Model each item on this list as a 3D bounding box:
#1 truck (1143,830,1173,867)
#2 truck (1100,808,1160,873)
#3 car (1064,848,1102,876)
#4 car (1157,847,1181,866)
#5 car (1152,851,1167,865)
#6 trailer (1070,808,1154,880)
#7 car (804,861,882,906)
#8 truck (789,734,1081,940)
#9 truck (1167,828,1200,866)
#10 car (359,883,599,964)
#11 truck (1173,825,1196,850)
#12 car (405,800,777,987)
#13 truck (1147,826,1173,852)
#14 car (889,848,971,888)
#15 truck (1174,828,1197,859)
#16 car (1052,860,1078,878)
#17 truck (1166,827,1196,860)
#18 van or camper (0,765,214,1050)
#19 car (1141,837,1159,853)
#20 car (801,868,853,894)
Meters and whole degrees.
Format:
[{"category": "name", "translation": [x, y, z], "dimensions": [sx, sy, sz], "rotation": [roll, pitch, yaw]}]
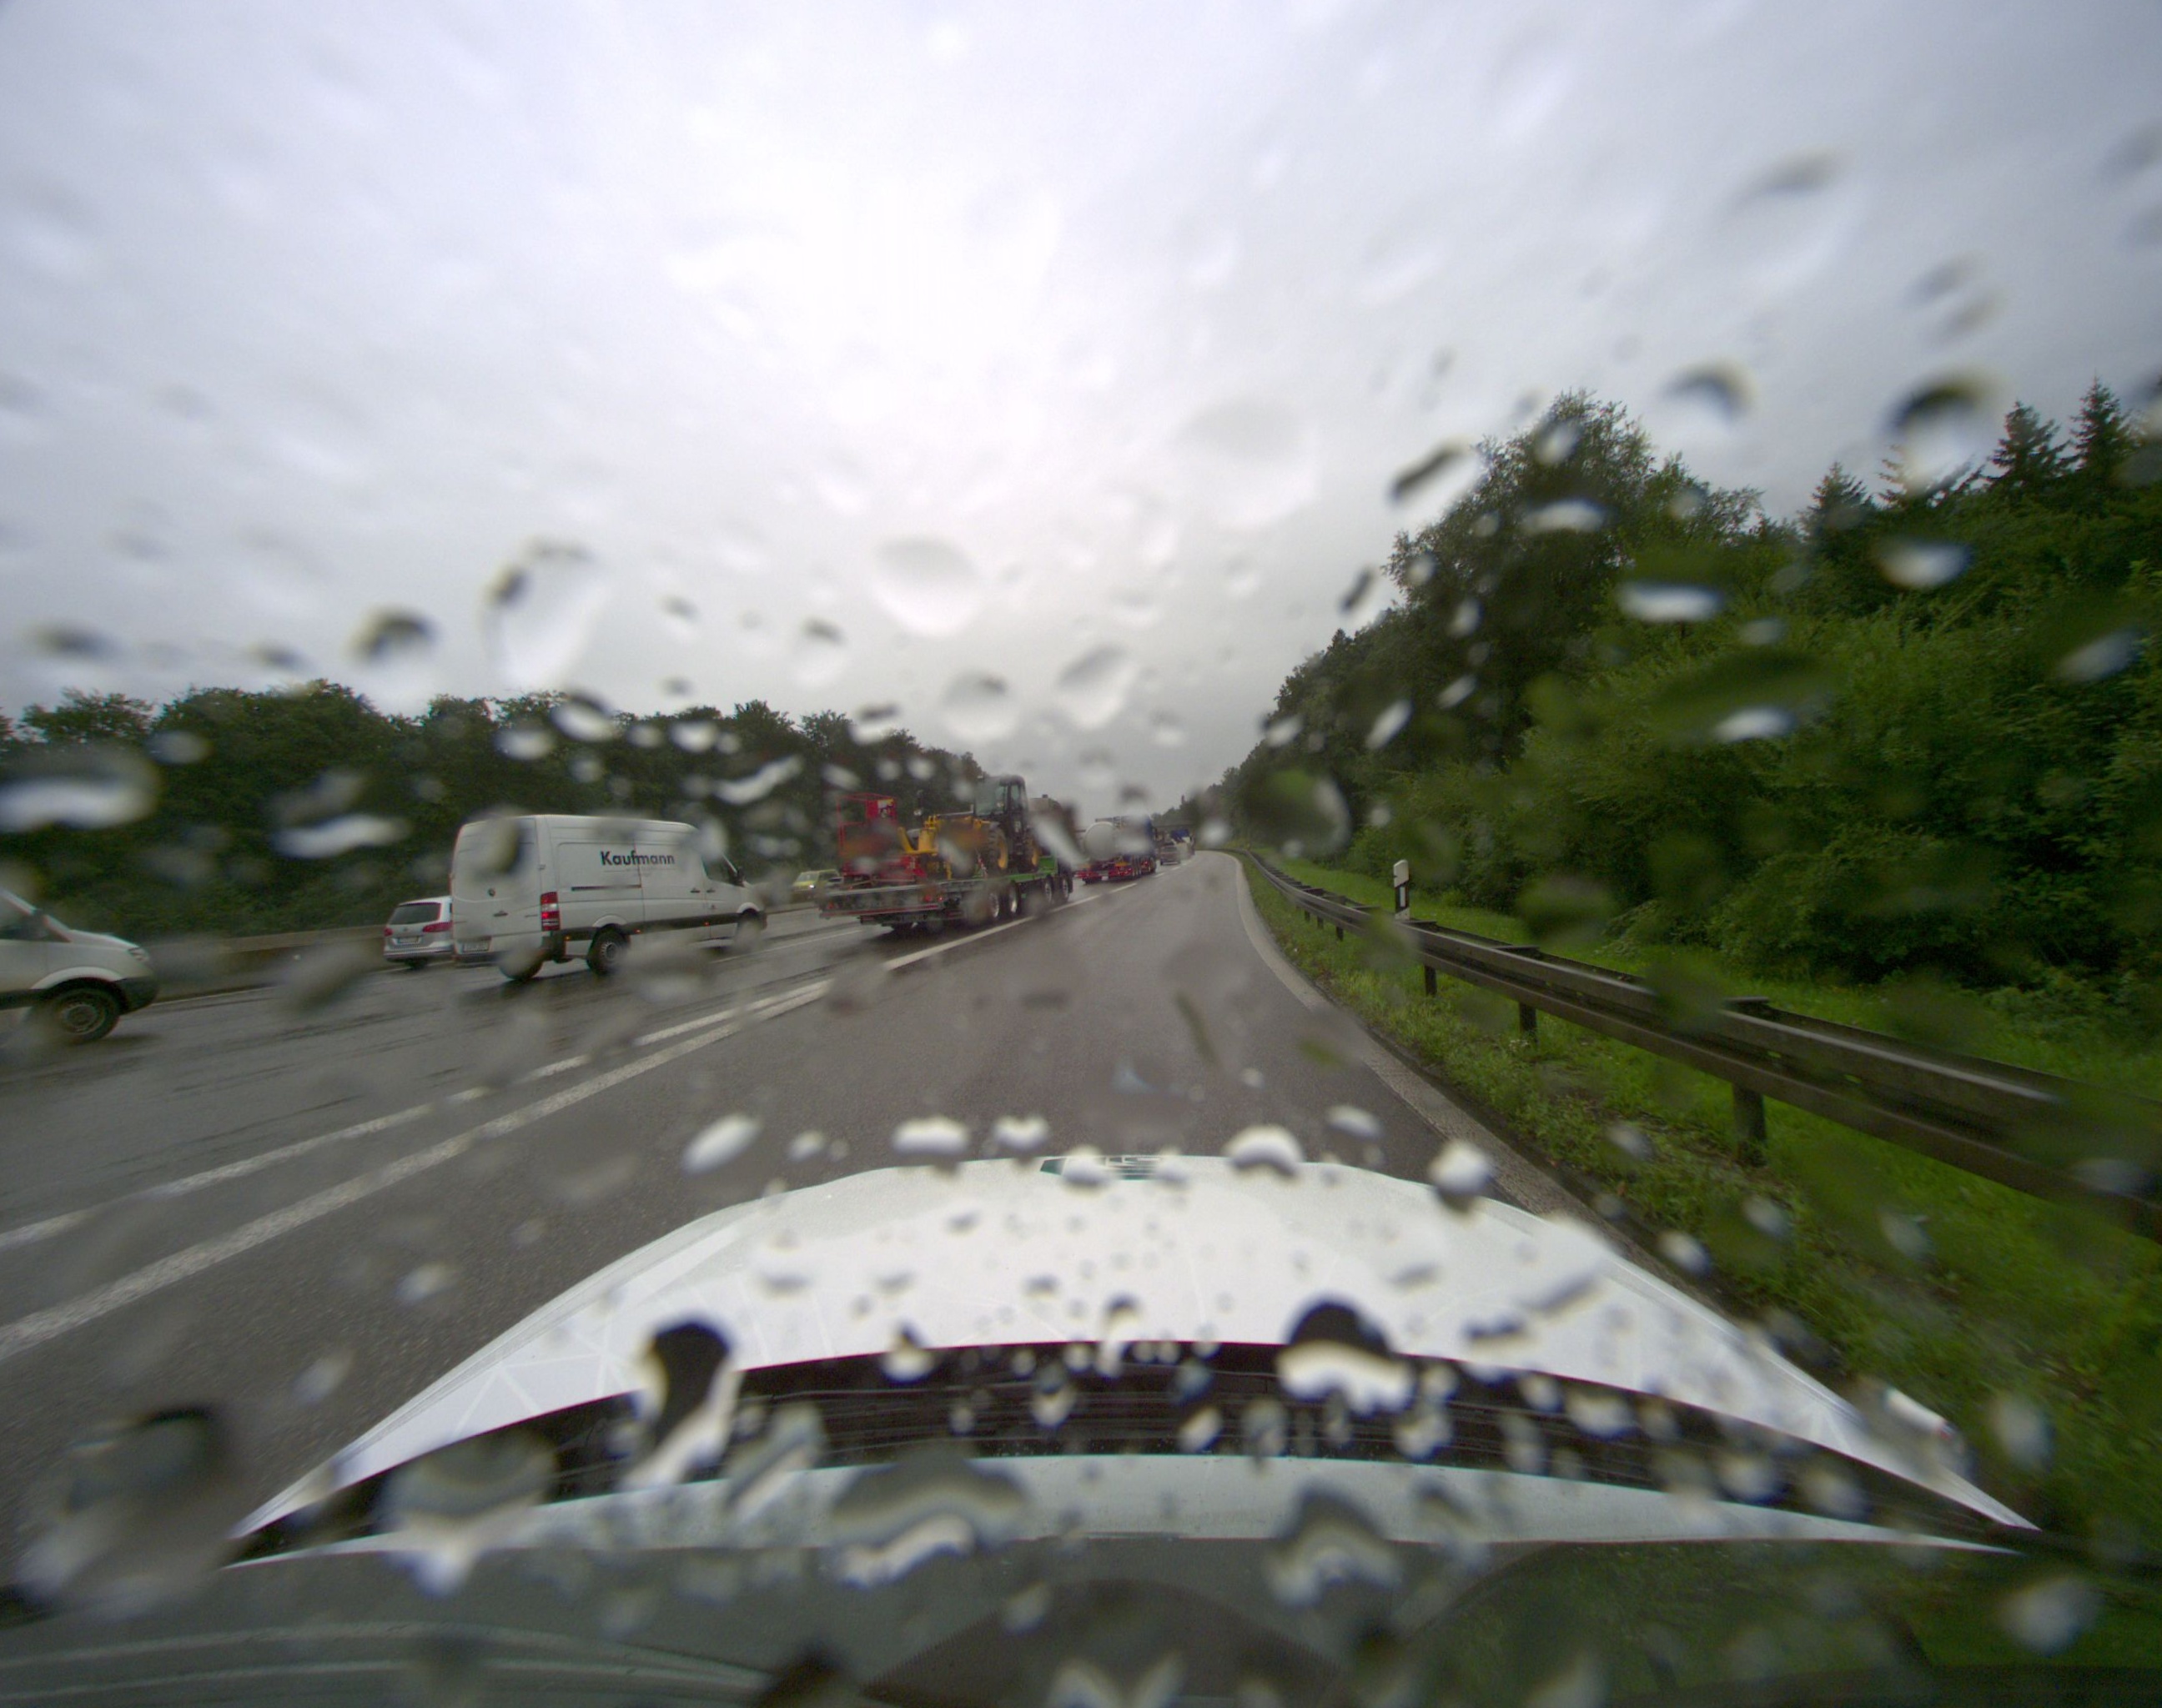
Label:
[{"category": "truck", "translation": [11.989, -0.693, 126.586], "dimensions": [3.731, 5.499, 10.200], "rotation": [-1, -1, 10]}, {"category": "truck", "translation": [3.160, -0.827, 50.831], "dimensions": [2.859, 3.693, 5.072], "rotation": [-4, 0, 11]}, {"category": "car", "translation": [0.188, 0.548, 56.091], "dimensions": [1.808, 1.767, 4.012], "rotation": [-3, 0, 11]}, {"category": "car", "translation": [7.974, 0.237, 73.612], "dimensions": [1.981, 1.636, 4.010], "rotation": [-1, -1, 9]}, {"category": "car", "translation": [10.489, 0.555, 108.873], "dimensions": [1.787, 1.904, 4.010], "rotation": [-1, -1, 9]}, {"category": "trailer", "translation": [1.908, -0.532, 44.069], "dimensions": [2.855, 3.288, 10.108], "rotation": [-4, 0, 11]}, {"category": "car", "translation": [-11.205, 1.373, 38.639], "dimensions": [1.785, 2.014, 4.014], "rotation": [-1, -1, 13]}, {"category": "truck", "translation": [-2.756, -0.329, 20.832], "dimensions": [2.812, 3.588, 11.837], "rotation": [-5, -1, 12]}, {"category": "truck", "translation": [12.626, -0.883, 99.537], "dimensions": [3.580, 4.104, 11.587], "rotation": [-4, 0, 8]}, {"category": "car", "translation": [-14.712, 1.627, 20.307], "dimensions": [1.853, 1.522, 4.646], "rotation": [-4, -1, 13]}, {"category": "truck", "translation": [17.932, -2.782, 141.111], "dimensions": [3.734, 3.971, 11.082], "rotation": [0, -1, 8]}, {"category": "car", "translation": [-8.347, 0.590, 14.853], "dimensions": [2.200, 2.629, 5.865], "rotation": [-4, -1, 13]}, {"category": "truck", "translation": [13.940, -2.538, 143.025], "dimensions": [3.554, 4.095, 10.909], "rotation": [-4, -2, 10]}, {"category": "car", "translation": [-7.077, 0.619, 38.737], "dimensions": [1.980, 1.594, 4.824], "rotation": [-4, 0, 12]}, {"category": "truck", "translation": [20.904, -2.047, 162.512], "dimensions": [4.312, 5.764, 9.751], "rotation": [0, -1, 8]}, {"category": "car", "translation": [-1.679, 1.612, 87.222], "dimensions": [1.981, 1.772, 4.146], "rotation": [-3, -1, 10]}, {"category": "truck", "translation": [14.319, -1.345, 115.608], "dimensions": [3.485, 4.268, 10.634], "rotation": [-1, -1, 11]}, {"category": "van or camper", "translation": [-13.806, 0.681, 7.758], "dimensions": [2.562, 3.204, 7.155], "rotation": [-4, -1, 13]}, {"category": "car", "translation": [8.489, -1.135, 99.878], "dimensions": [1.786, 1.838, 4.011], "rotation": [-1, -1, 10]}, {"category": "car", "translation": [-19.159, 1.992, 61.650], "dimensions": [1.589, 1.723, 4.652], "rotation": [-4, -1, 11]}]
